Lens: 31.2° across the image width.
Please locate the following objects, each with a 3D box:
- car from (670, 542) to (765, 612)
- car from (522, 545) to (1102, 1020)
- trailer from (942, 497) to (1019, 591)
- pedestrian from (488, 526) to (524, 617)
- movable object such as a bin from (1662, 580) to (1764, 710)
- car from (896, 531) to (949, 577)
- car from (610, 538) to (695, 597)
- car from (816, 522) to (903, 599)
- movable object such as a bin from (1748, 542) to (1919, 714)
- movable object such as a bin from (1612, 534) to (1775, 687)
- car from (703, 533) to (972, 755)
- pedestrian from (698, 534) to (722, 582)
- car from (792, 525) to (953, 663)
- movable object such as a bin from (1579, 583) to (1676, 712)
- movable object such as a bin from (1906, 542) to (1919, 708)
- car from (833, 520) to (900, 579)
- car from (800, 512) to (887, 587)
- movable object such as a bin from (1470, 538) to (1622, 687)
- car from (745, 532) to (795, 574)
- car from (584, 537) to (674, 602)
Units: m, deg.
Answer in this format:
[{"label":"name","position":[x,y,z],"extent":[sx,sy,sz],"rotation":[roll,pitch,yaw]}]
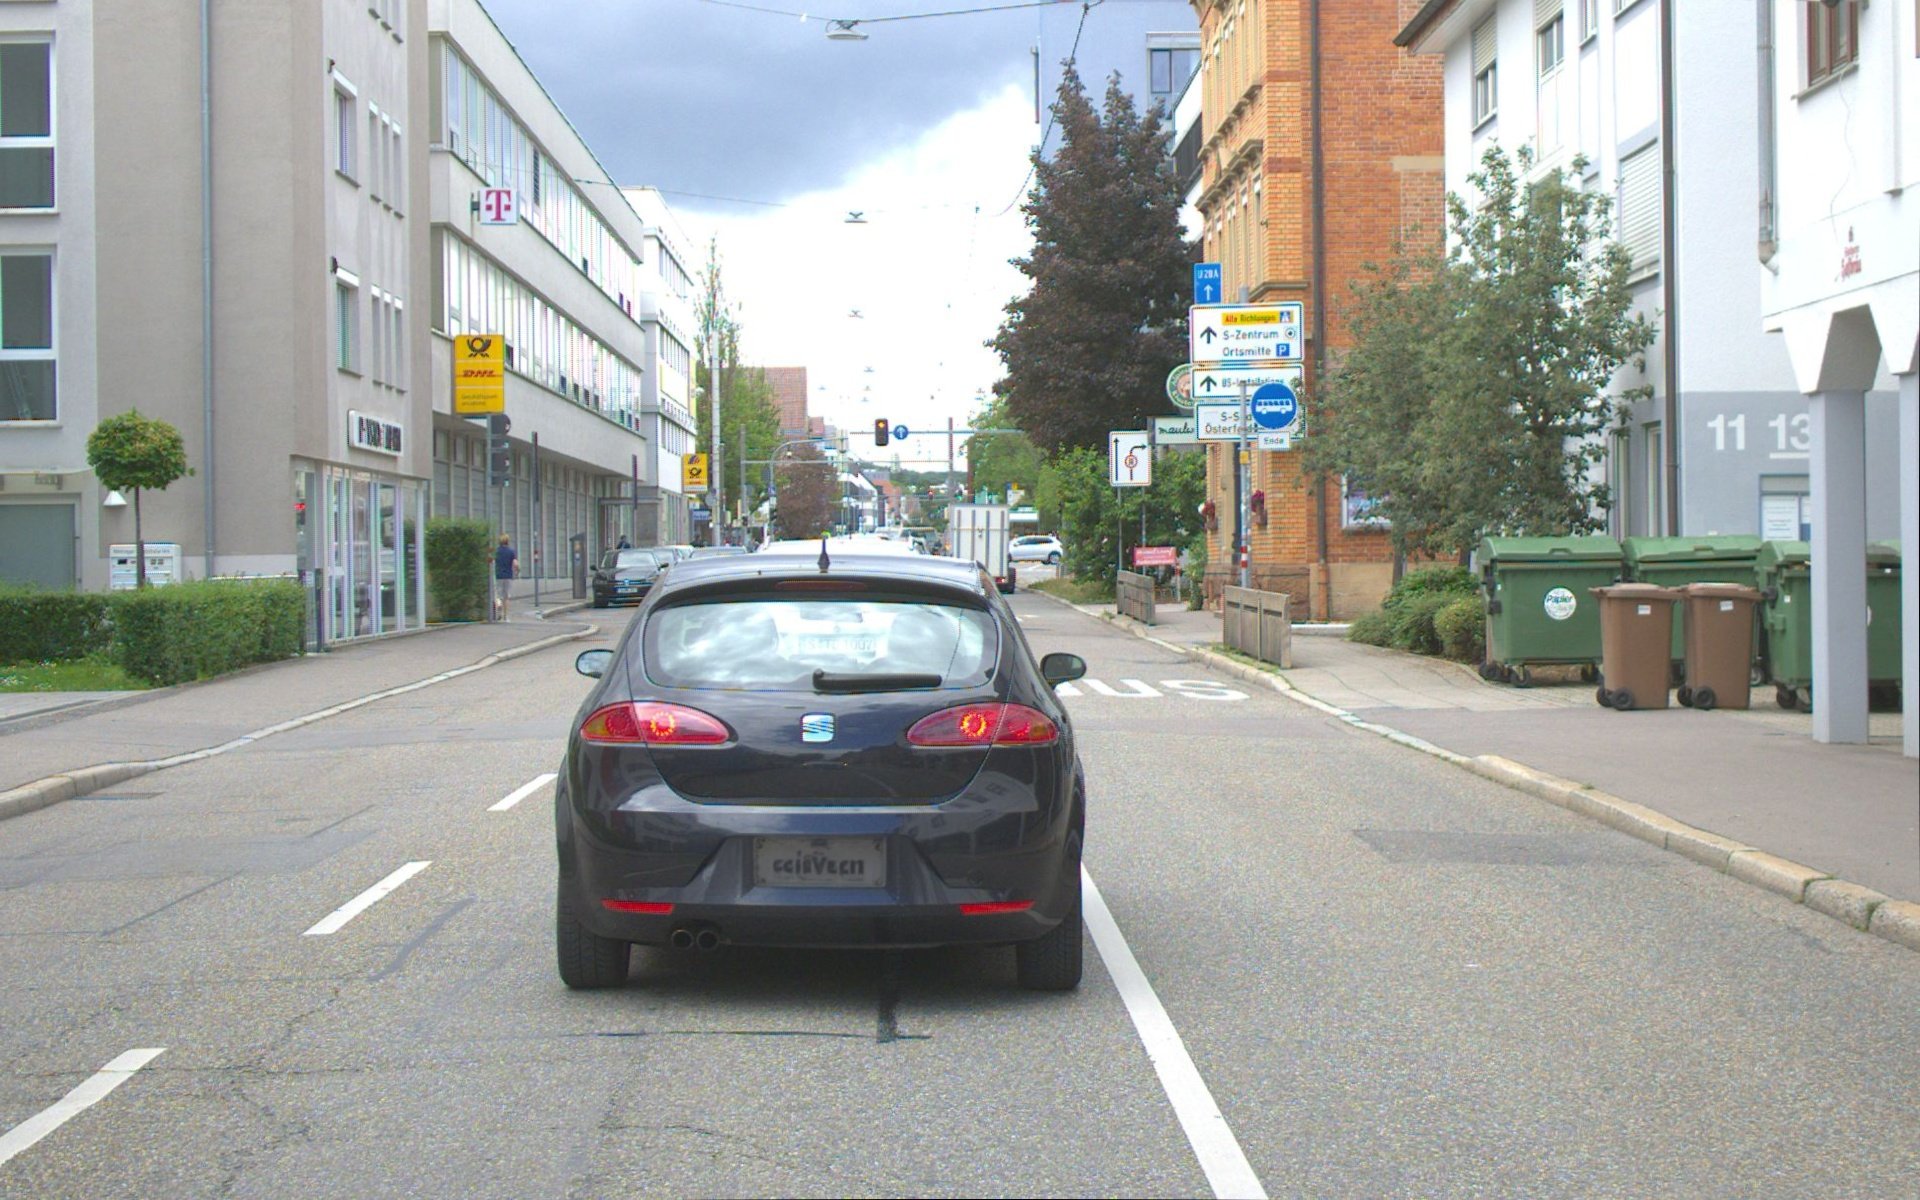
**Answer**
[{"label":"car","position":[-5.467,-0.545,77.906],"extent":[1.878,1.446,4.214],"rotation":[-3,1,-1]},{"label":"car","position":[-0.482,0.529,12.447],"extent":[1.765,1.428,3.829],"rotation":[0,1,-1]},{"label":"trailer","position":[0.558,-1.595,97.515],"extent":[1.993,2.598,5.350],"rotation":[-1,1,-2]},{"label":"pedestrian","position":[-8.764,-0.555,66.411],"extent":[0.642,1.763,0.810],"rotation":[0,1,-4]},{"label":"movable object such as a bin","position":[6.439,0.378,29.429],"extent":[0.698,1.075,0.971],"rotation":[0,1,3]},{"label":"car","position":[-1.346,-1.641,122.355],"extent":[1.803,1.596,3.738],"rotation":[1,1,-2]},{"label":"car","position":[-8.167,-0.890,91.588],"extent":[1.993,1.511,4.175],"rotation":[-1,1,-2]},{"label":"car","position":[-2.144,-0.854,73.681],"extent":[1.803,1.596,3.738],"rotation":[1,1,-2]},{"label":"movable object such as a bin","position":[7.394,0.224,29.083],"extent":[1.209,1.412,1.259],"rotation":[0,1,3]},{"label":"movable object such as a bin","position":[7.034,0.086,33.033],"extent":[1.267,1.430,1.307],"rotation":[0,1,0]},{"label":"car","position":[-0.879,0.261,25.132],"extent":[1.803,1.487,3.738],"rotation":[-1,1,-2]},{"label":"pedestrian","position":[-9.809,-1.645,134.942],"extent":[0.918,1.862,0.783],"rotation":[0,1,-1]},{"label":"car","position":[-1.041,-0.102,40.738],"extent":[1.803,1.547,3.738],"rotation":[-1,1,-2]},{"label":"movable object such as a bin","position":[5.709,0.397,29.450],"extent":[0.683,1.063,0.971],"rotation":[0,1,3]},{"label":"movable object such as a bin","position":[8.757,0.215,29.075],"extent":[1.209,1.412,1.259],"rotation":[0,1,3]},{"label":"car","position":[-2.610,-1.407,95.979],"extent":[1.803,1.596,3.738],"rotation":[1,1,-2]},{"label":"car","position":[-2.489,-1.098,73.604],"extent":[1.803,1.547,3.738],"rotation":[-1,1,-2]},{"label":"movable object such as a bin","position":[5.675,0.109,33.368],"extent":[1.267,1.412,1.162],"rotation":[0,1,0]},{"label":"car","position":[-8.266,-2.047,149.782],"extent":[1.993,1.733,4.554],"rotation":[-3,1,-2]},{"label":"car","position":[-8.225,-0.780,85.619],"extent":[1.912,1.511,4.175],"rotation":[-1,1,-2]}]
